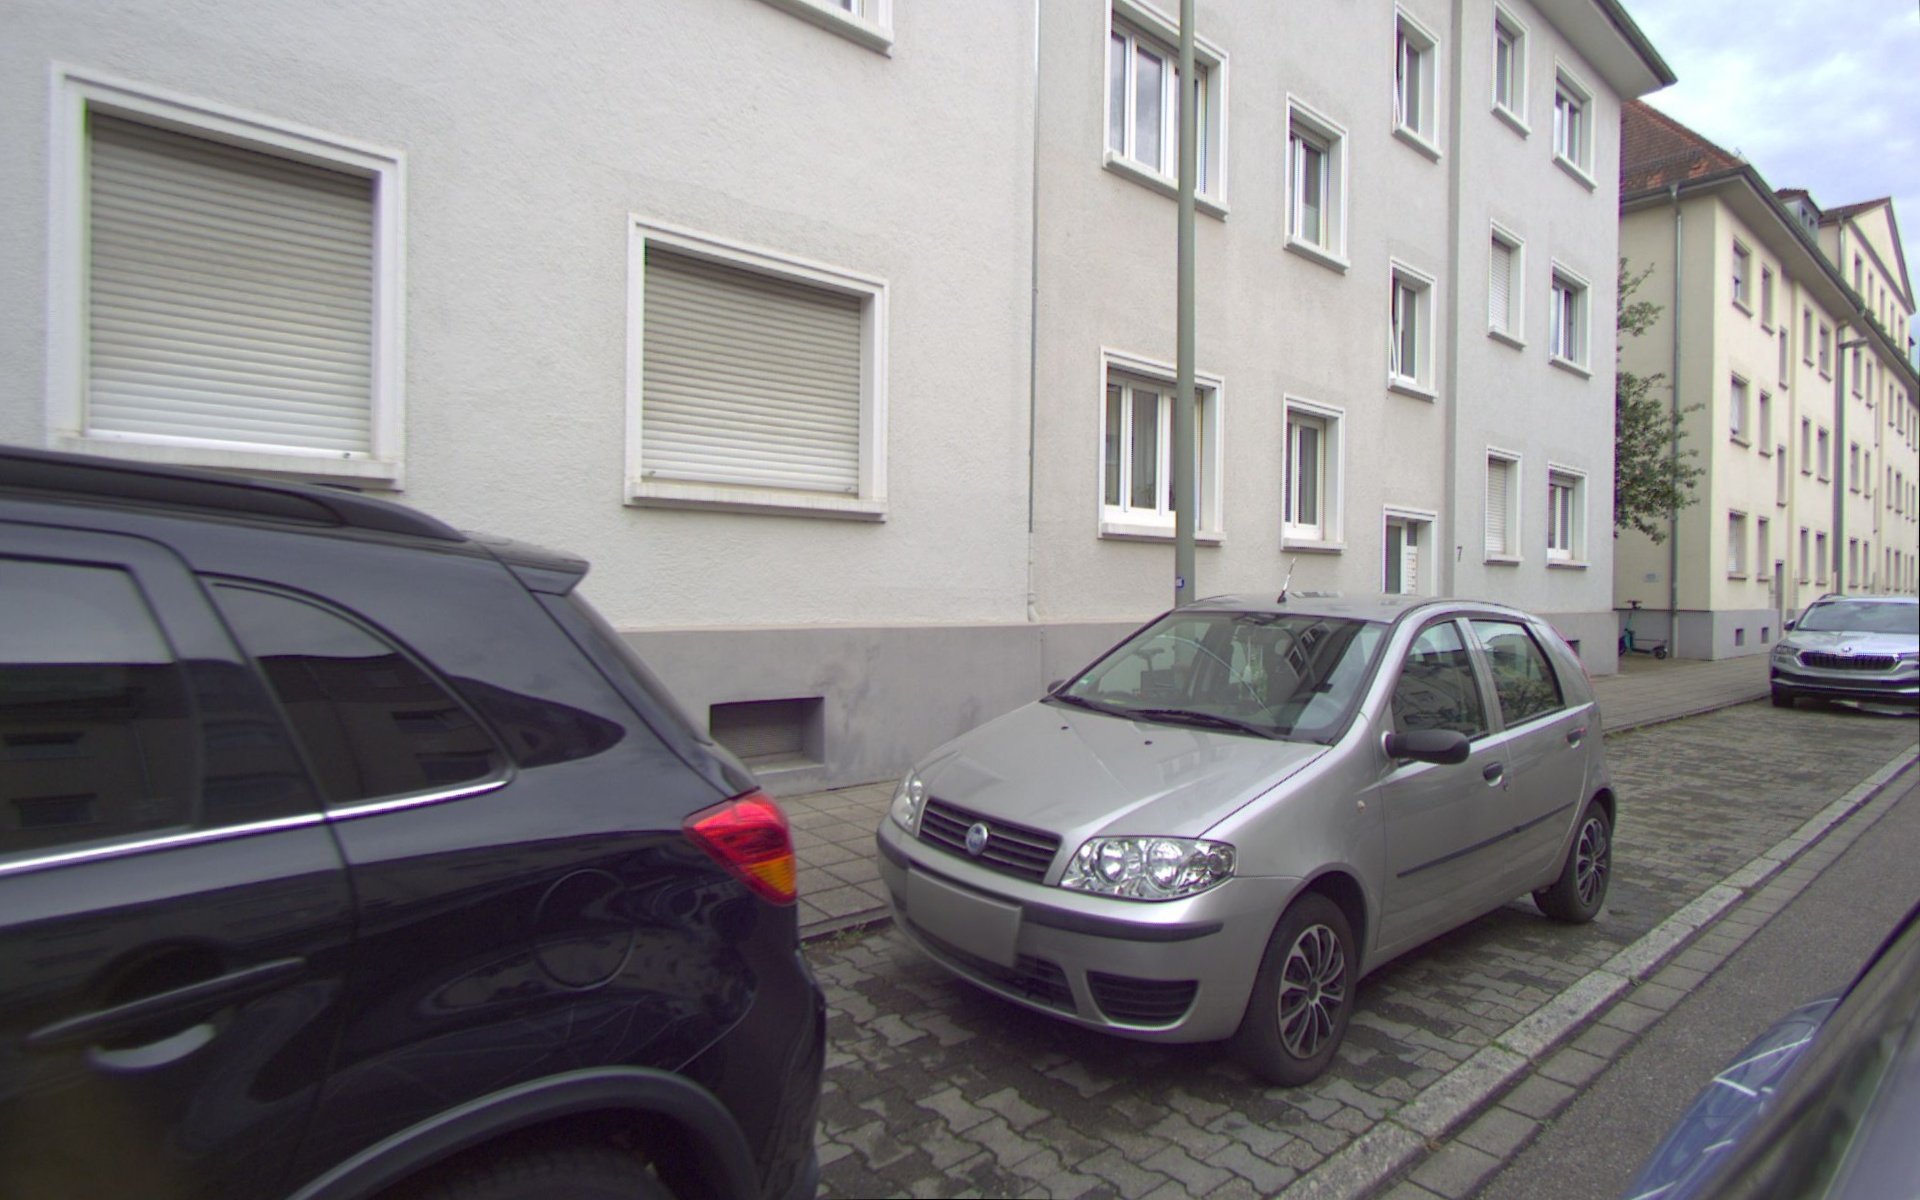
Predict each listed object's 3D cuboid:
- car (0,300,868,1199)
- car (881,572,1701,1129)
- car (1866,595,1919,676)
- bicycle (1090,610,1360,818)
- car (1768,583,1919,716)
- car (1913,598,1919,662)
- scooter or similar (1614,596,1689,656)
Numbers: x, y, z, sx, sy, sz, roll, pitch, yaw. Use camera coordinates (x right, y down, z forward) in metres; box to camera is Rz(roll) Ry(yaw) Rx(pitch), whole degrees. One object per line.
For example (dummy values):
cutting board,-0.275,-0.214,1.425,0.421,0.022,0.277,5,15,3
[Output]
car,-2.229,0.510,0.980,4.023,1.623,1.822,0,1,-44
car,1.796,0.672,4.766,4.018,1.522,1.824,0,1,-40
car,19.640,0.660,20.105,4.422,1.495,1.729,0,0,-39
bicycle,1.798,0.671,6.692,1.997,1.190,0.532,0,1,-35
car,13.208,0.613,14.468,4.018,1.663,1.824,0,1,-40
car,24.278,0.703,24.328,3.801,1.495,1.605,0,0,-41
scooter or similar,15.194,0.561,22.263,0.512,1.261,1.284,1,0,-24
